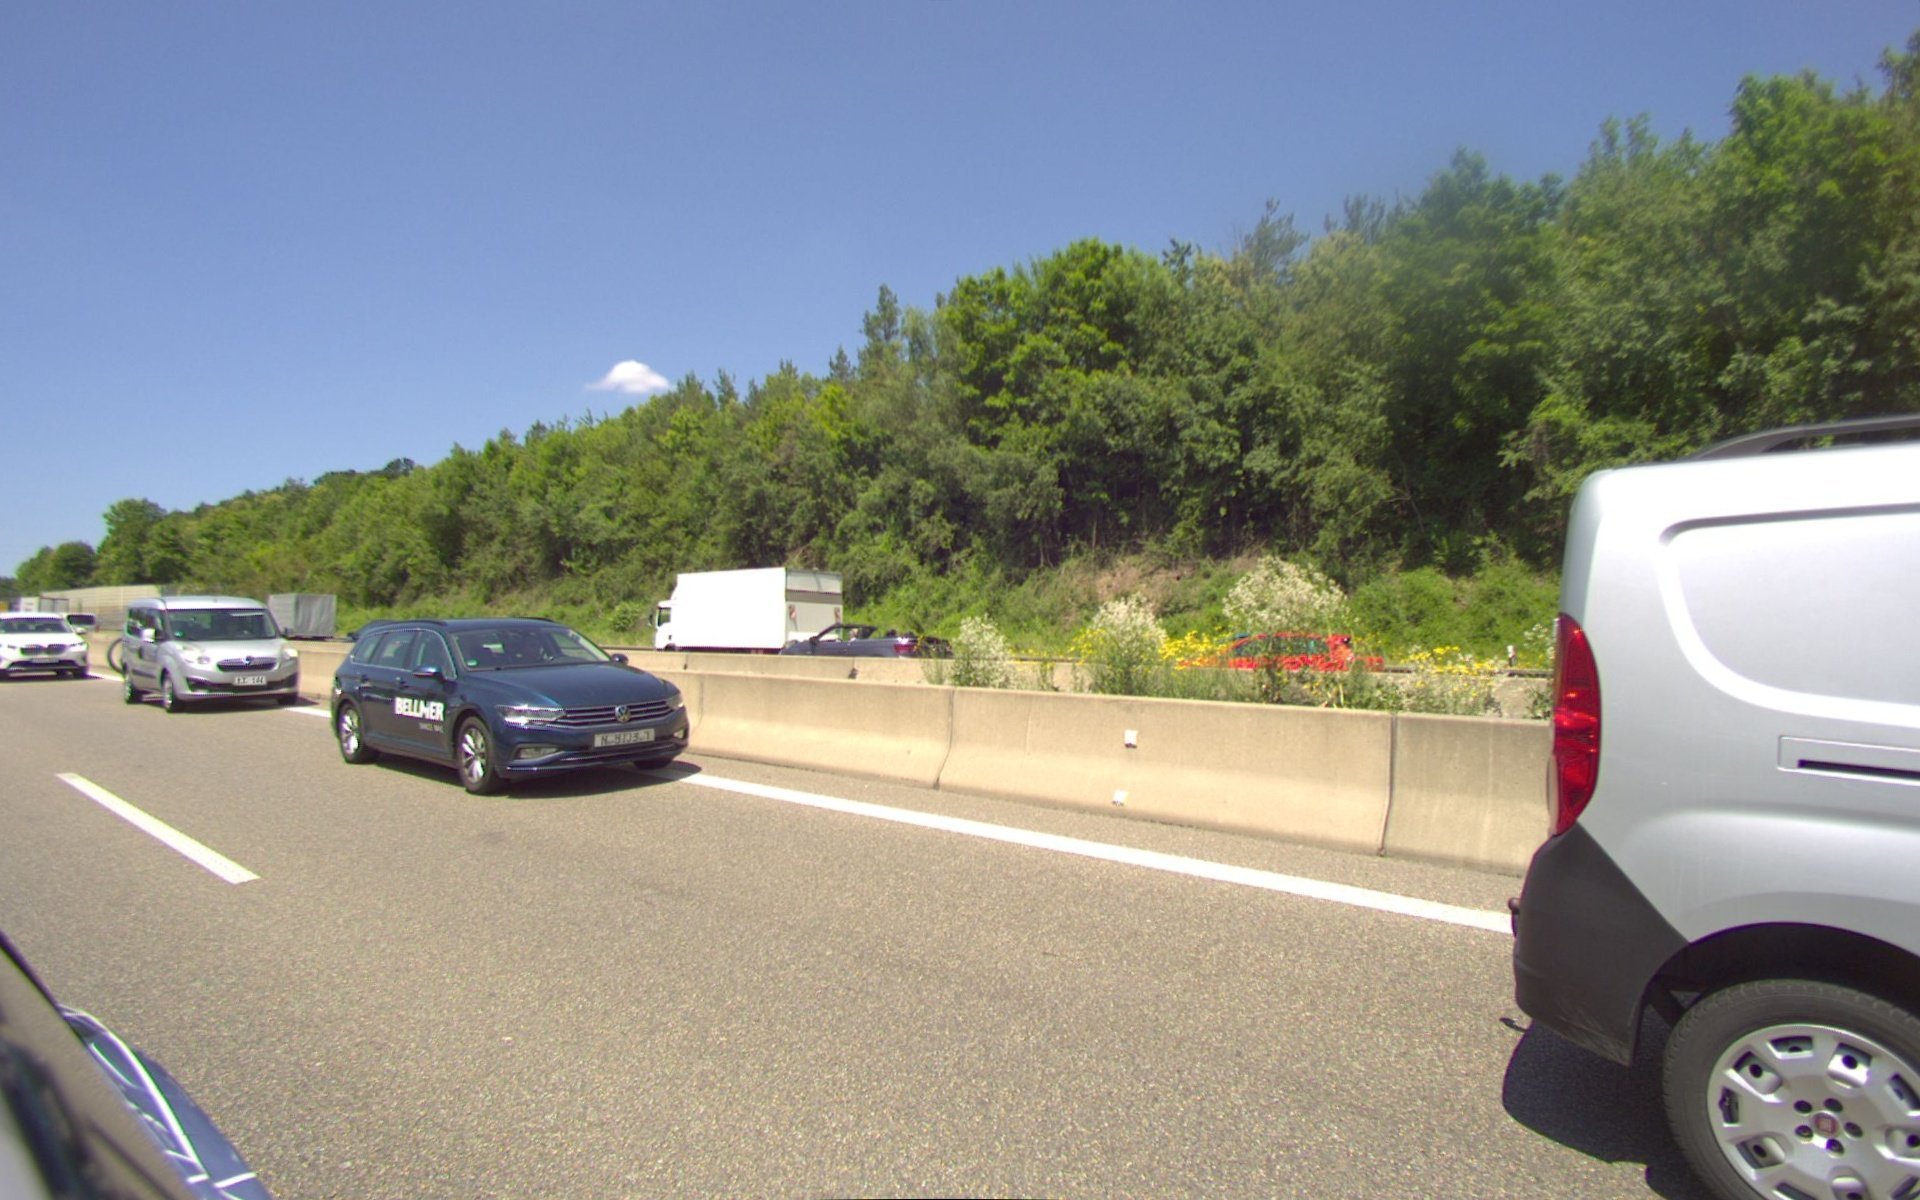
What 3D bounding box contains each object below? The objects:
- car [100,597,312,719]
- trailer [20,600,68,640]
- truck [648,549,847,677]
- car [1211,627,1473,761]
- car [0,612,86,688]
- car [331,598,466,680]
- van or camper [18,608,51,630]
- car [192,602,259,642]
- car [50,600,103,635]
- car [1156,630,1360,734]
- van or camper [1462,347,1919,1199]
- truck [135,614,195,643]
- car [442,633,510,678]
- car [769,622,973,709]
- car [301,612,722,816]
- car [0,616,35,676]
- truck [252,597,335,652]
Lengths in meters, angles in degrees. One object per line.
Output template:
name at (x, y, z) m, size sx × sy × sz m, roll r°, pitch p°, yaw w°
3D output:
car at (-12.900, 0.858, 17.188) m, size 4.914 × 1.786 × 1.834 m, roll 0°, pitch 0°, yaw 40°
trailer at (-106.219, 2.220, 117.289) m, size 10.810 × 4.515 × 2.919 m, roll 0°, pitch 0°, yaw 41°
truck at (-7.628, 0.412, 35.547) m, size 7.988 × 4.019 × 2.663 m, roll 0°, pitch 0°, yaw 42°
car at (6.792, 1.557, 18.176) m, size 3.997 × 2.029 × 1.973 m, roll 0°, pitch 0°, yaw 40°
car at (-23.334, 1.191, 25.223) m, size 3.998 × 1.719 × 1.801 m, roll 0°, pitch 0°, yaw 41°
car at (-15.090, 0.967, 27.138) m, size 3.999 × 2.029 × 1.972 m, roll 0°, pitch 0°, yaw 42°
van or camper at (-92.407, 1.872, 101.023) m, size 4.927 × 2.029 × 1.972 m, roll 0°, pitch 0°, yaw 43°
car at (-38.546, 1.110, 53.064) m, size 4.418 × 2.029 × 1.972 m, roll 0°, pitch 0°, yaw 42°
car at (-54.332, 1.047, 62.187) m, size 4.957 × 2.029 × 1.972 m, roll 0°, pitch 0°, yaw 43°
car at (6.700, 1.754, 22.911) m, size 3.997 × 2.029 × 1.973 m, roll 0°, pitch 0°, yaw 40°
van or camper at (3.605, 0.400, 1.750) m, size 4.559 × 1.894 × 1.833 m, roll -2°, pitch -1°, yaw 42°
truck at (-60.835, 2.155, 77.361) m, size 6.487 × 2.029 × 2.327 m, roll 0°, pitch 0°, yaw 40°
car at (-24.305, 2.740, 50.782) m, size 3.511 × 2.029 × 1.832 m, roll 0°, pitch 0°, yaw 41°
car at (-1.890, 1.251, 20.827) m, size 3.998 × 1.531 × 1.973 m, roll 0°, pitch 0°, yaw 41°
car at (-4.427, 0.862, 9.604) m, size 4.675 × 1.461 × 1.855 m, roll -1°, pitch 0°, yaw 41°
car at (-30.516, 1.409, 31.496) m, size 3.996 × 1.770 × 1.974 m, roll 0°, pitch 0°, yaw 39°
truck at (-37.840, 1.324, 57.336) m, size 6.738 × 2.906 × 2.155 m, roll 0°, pitch 0°, yaw 40°
